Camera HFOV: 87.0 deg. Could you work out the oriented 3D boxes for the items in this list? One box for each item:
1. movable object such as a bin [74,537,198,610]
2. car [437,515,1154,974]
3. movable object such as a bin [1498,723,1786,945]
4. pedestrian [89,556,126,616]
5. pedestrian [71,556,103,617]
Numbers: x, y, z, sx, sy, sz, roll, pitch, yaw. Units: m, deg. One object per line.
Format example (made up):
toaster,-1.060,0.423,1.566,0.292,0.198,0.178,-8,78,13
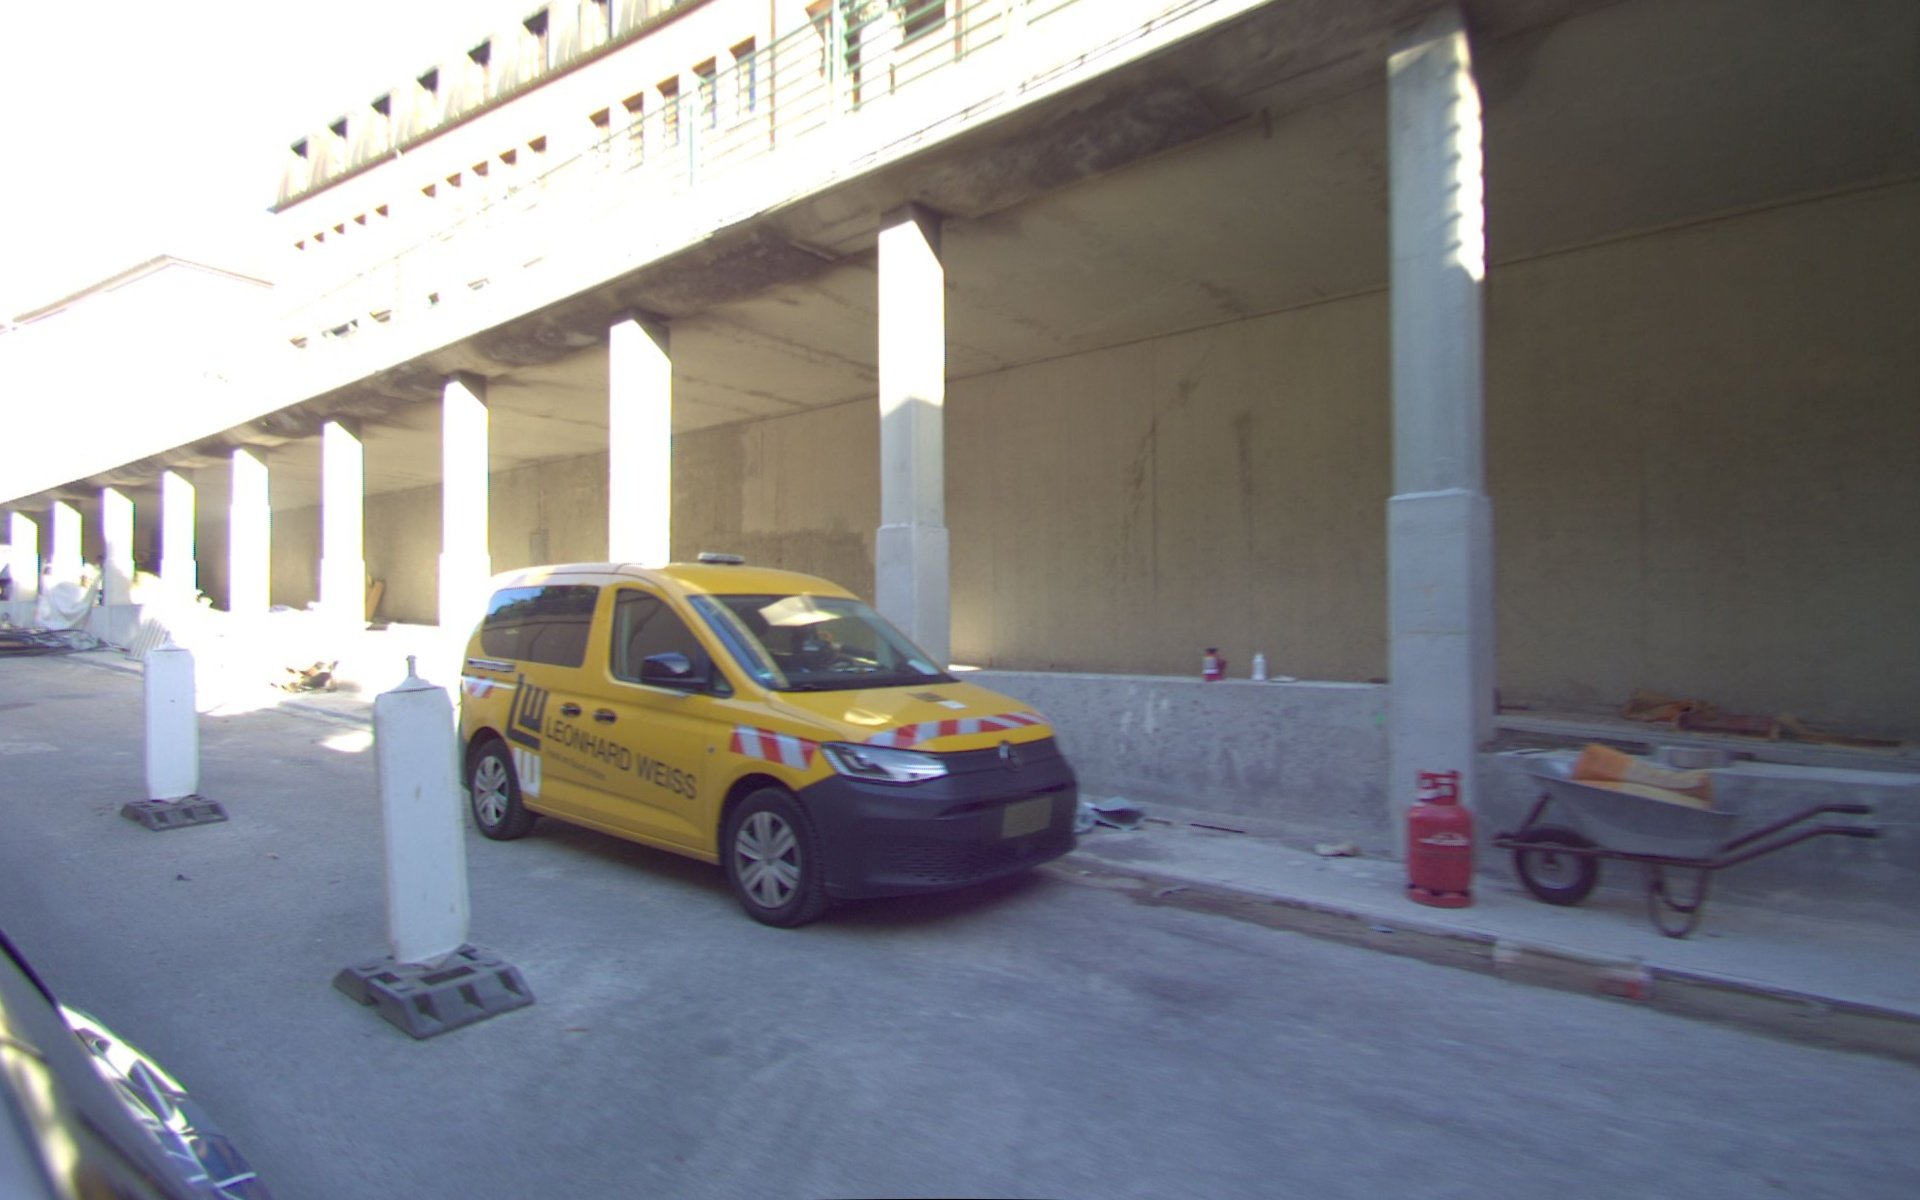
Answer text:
movable object such as a bin,-23.863,-0.760,29.306,3.149,2.002,1.871,1,1,32
car,-1.251,0.588,6.091,4.431,1.789,1.829,-1,-1,40
movable object such as a bin,3.089,1.000,4.603,1.030,0.747,0.645,0,-1,40
pedestrian,-26.537,-0.446,31.515,0.707,1.828,0.699,2,1,32
pedestrian,-26.339,-0.409,30.521,0.624,1.818,0.650,2,1,42
